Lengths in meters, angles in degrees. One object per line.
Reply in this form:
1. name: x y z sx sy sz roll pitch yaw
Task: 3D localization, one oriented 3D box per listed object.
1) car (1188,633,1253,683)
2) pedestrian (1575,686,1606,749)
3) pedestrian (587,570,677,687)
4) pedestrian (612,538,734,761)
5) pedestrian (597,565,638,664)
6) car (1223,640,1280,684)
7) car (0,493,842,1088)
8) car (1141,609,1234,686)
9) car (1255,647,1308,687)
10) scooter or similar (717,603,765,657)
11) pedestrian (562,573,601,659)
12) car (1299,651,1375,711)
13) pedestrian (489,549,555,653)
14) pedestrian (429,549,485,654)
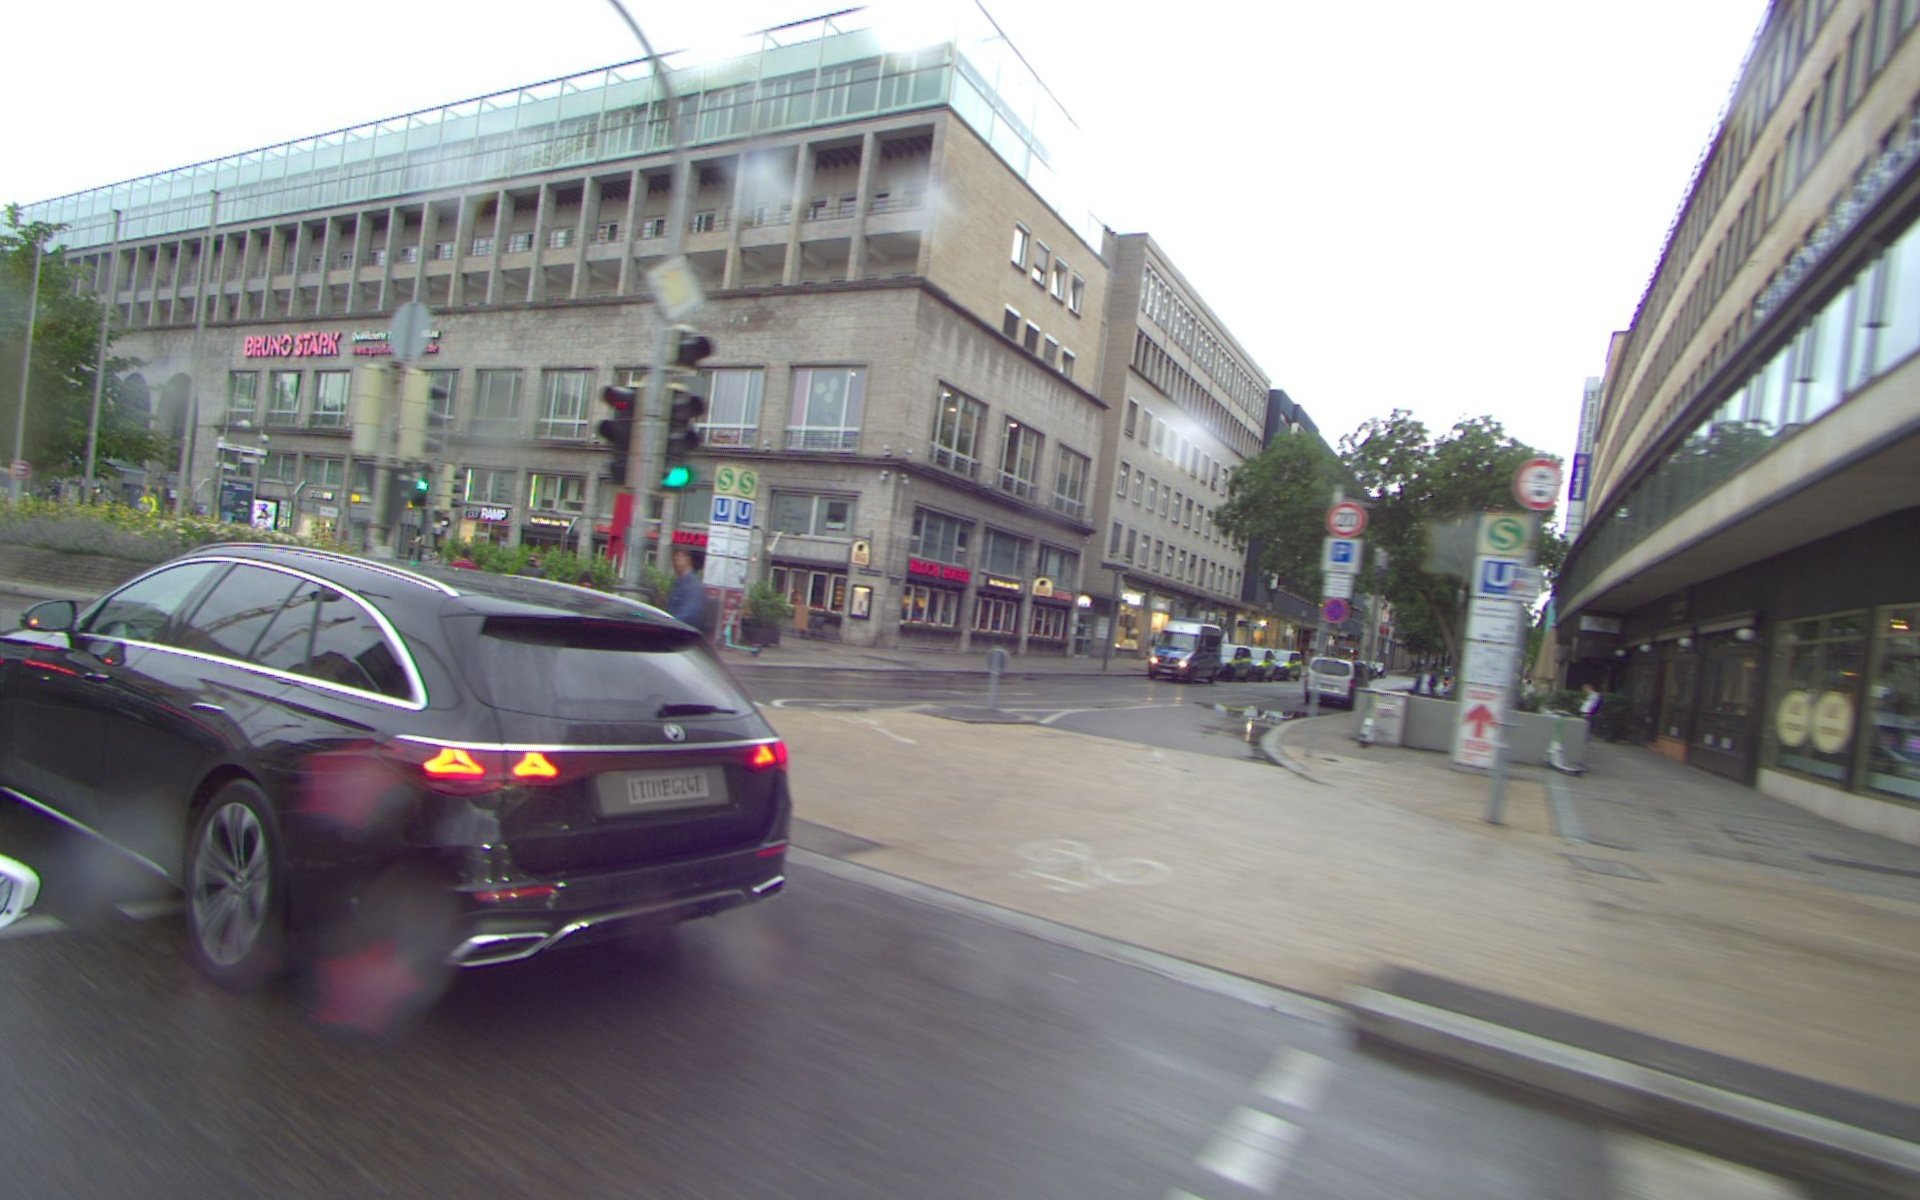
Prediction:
1. car: 13.267 2.969 51.013 1.966 2.065 4.557 6 -3 29
2. pedestrian: 18.396 3.429 29.374 0.607 1.719 0.574 6 -2 31
3. pedestrian: -5.259 0.460 16.189 0.642 1.774 1.097 6 1 30
4. pedestrian: -2.458 0.427 8.666 0.768 1.776 0.503 7 -1 -15
5. pedestrian: -6.412 0.261 18.818 0.477 1.774 0.661 5 1 -29
6. car: 16.574 3.551 56.985 1.966 2.065 4.483 6 -3 29
7. car: -2.957 0.465 4.710 4.554 1.518 1.797 6 -3 33
8. car: 10.135 2.199 44.404 1.966 2.792 6.183 6 -3 30
9. car: 20.275 4.252 63.255 1.967 2.065 4.832 6 -3 31
10. scooter or similar: -5.365 0.744 24.652 1.000 1.203 0.291 7 -1 14
11. pedestrian: -7.002 0.294 18.600 0.460 1.534 0.448 8 -2 -24
12. car: 15.010 3.247 39.878 1.966 1.994 4.638 7 -1 29
13. pedestrian: -7.786 0.031 17.897 0.458 1.737 0.757 6 -2 29
14. pedestrian: -8.919 0.040 17.874 0.561 1.772 0.679 7 -2 -15
